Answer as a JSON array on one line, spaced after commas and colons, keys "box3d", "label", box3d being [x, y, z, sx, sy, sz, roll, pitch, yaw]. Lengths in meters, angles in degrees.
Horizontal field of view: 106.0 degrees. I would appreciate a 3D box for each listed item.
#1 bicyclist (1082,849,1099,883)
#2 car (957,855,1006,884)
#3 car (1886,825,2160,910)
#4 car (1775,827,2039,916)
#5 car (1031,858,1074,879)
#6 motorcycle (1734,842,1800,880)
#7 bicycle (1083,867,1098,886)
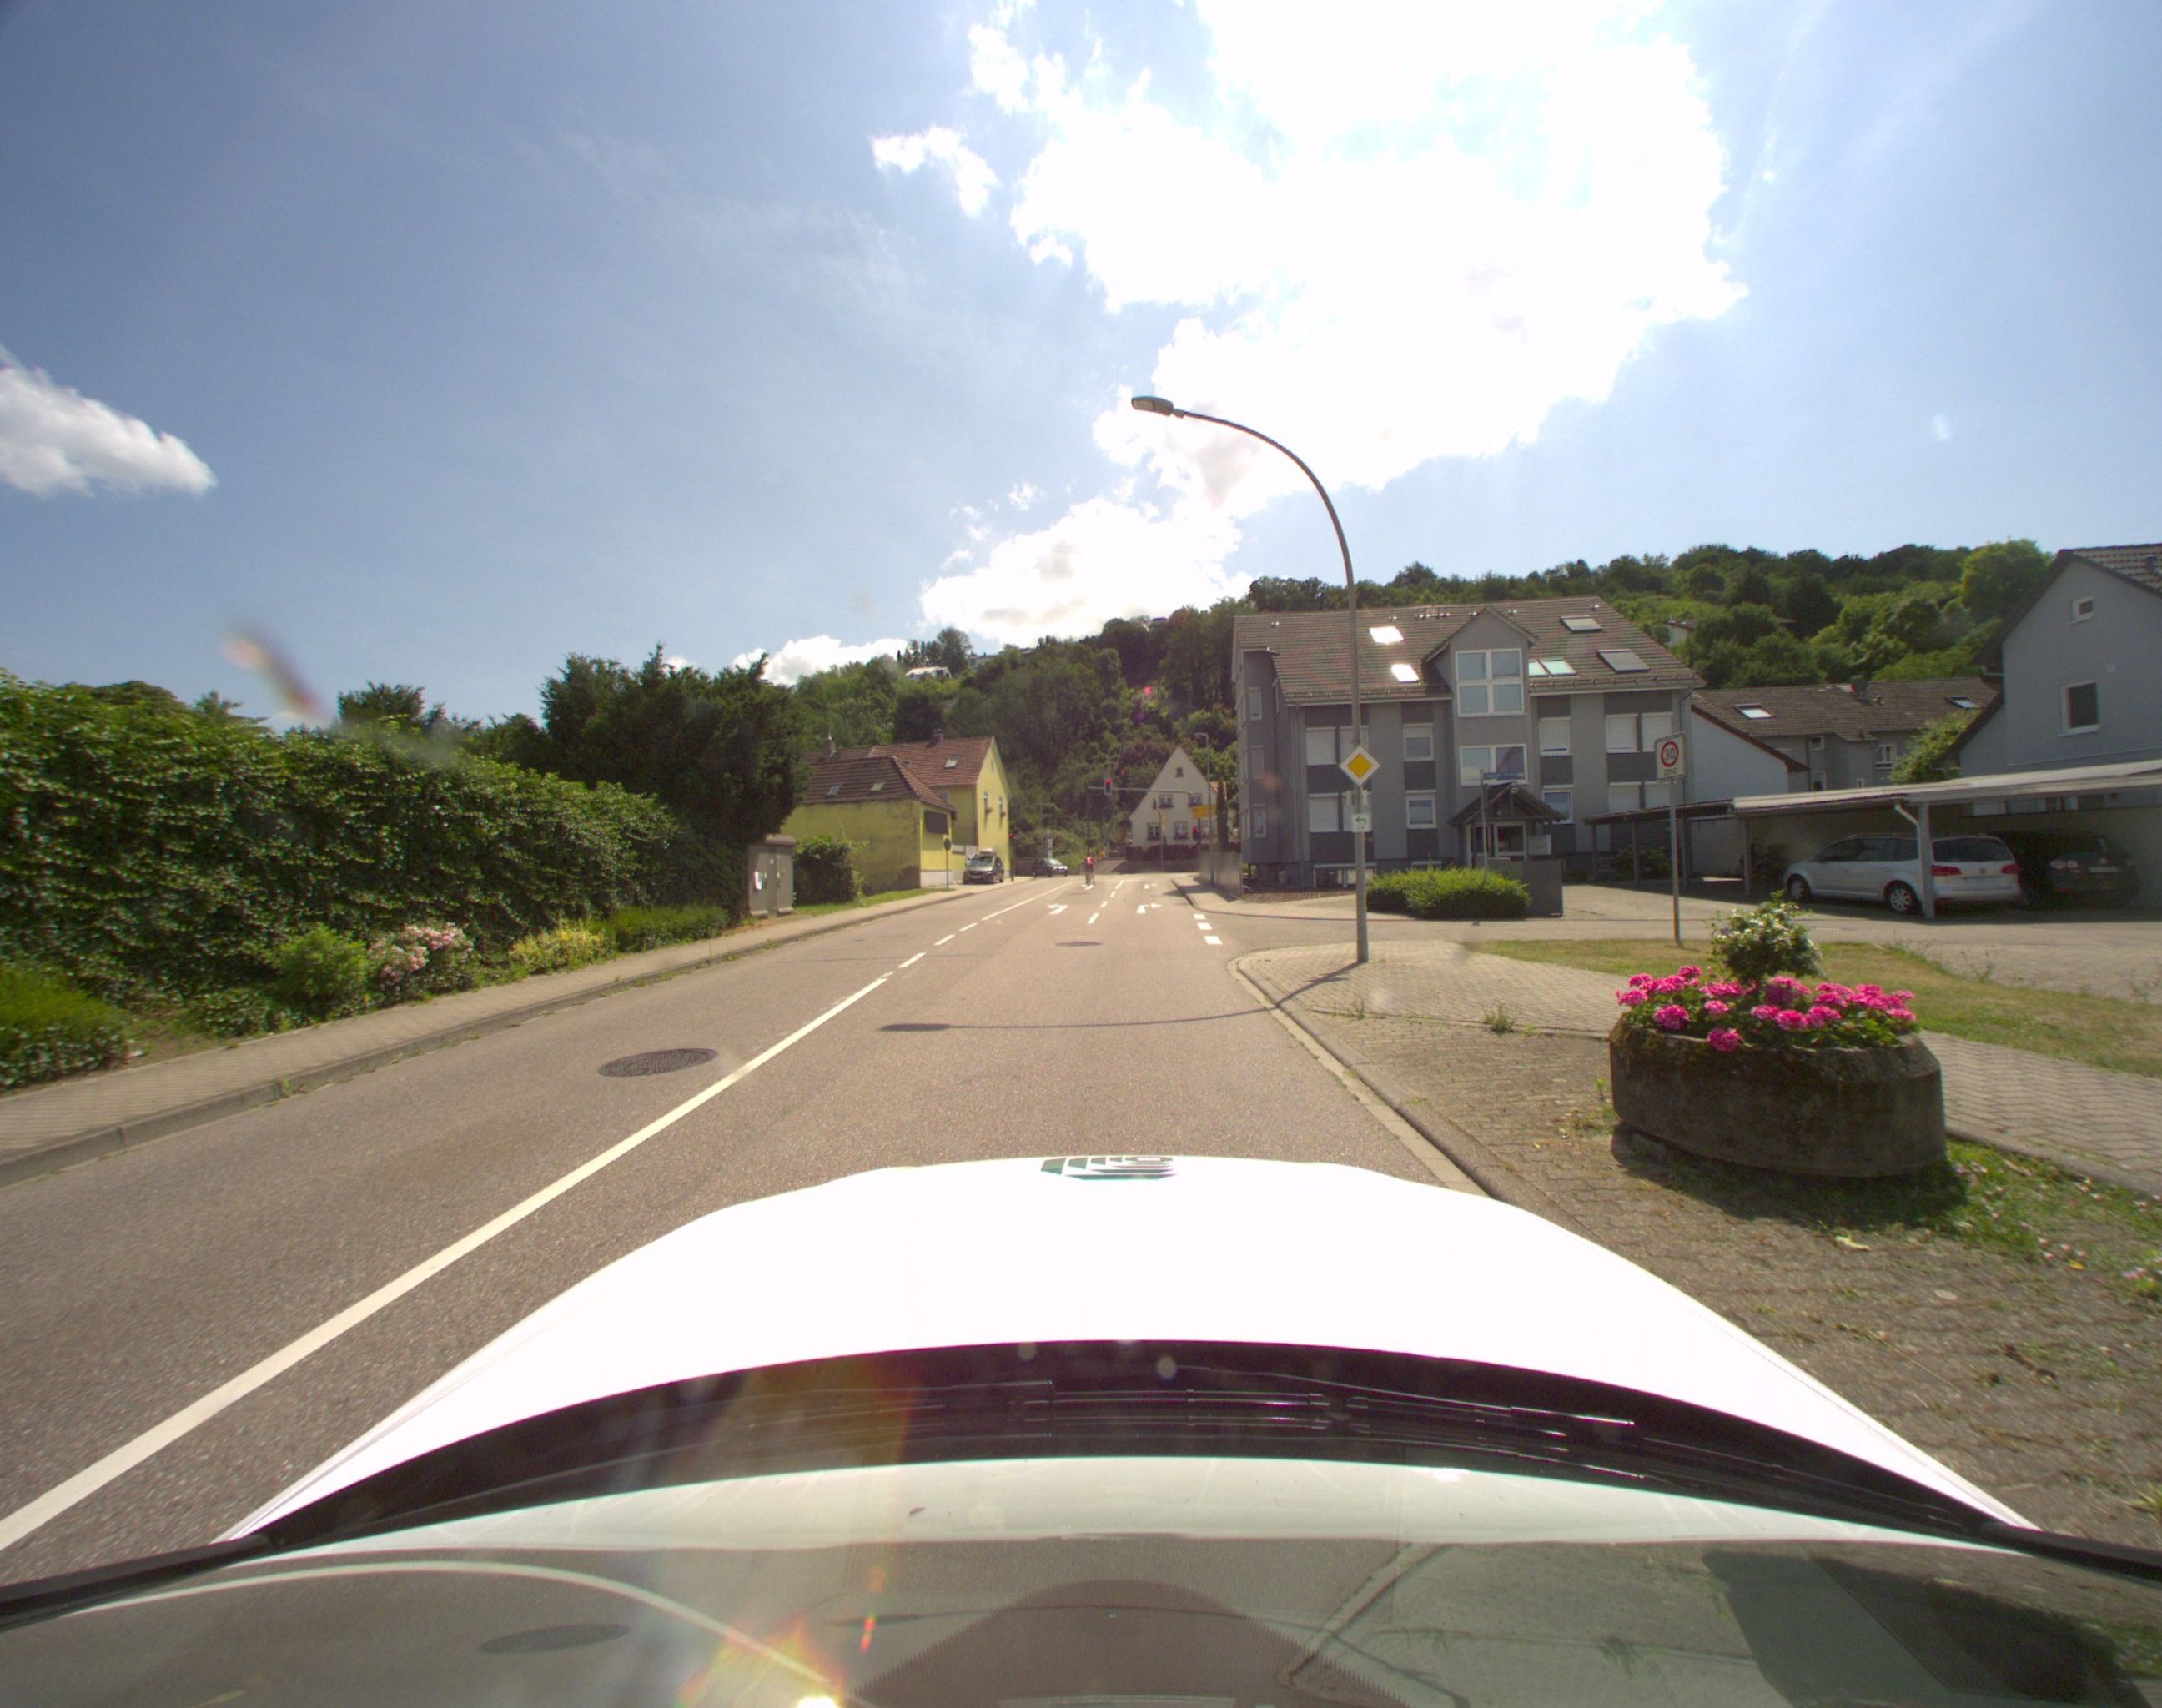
[{"box3d": [0.474, 0.575, 39.891, 0.757, 1.664, 0.869, -1, 0, 3], "label": "bicyclist"}, {"box3d": [-5.725, 0.867, 47.442, 1.984, 1.635, 4.635, 0, 0, 4], "label": "car"}, {"box3d": [20.248, 0.222, 17.794, 1.728, 1.587, 3.859, -2, 1, 5], "label": "car"}, {"box3d": [17.703, 0.286, 17.795, 1.728, 1.648, 4.222, -2, 1, 5], "label": "car"}, {"box3d": [-2.201, 1.087, 61.131, 1.790, 1.433, 3.839, -3, 0, -26], "label": "car"}, {"box3d": [22.243, 0.197, 26.461, 0.644, 1.163, 1.956, -2, 1, 6], "label": "motorcycle"}, {"box3d": [0.467, 1.091, 40.077, 0.627, 0.905, 1.658, -1, 0, 4], "label": "bicycle"}]
